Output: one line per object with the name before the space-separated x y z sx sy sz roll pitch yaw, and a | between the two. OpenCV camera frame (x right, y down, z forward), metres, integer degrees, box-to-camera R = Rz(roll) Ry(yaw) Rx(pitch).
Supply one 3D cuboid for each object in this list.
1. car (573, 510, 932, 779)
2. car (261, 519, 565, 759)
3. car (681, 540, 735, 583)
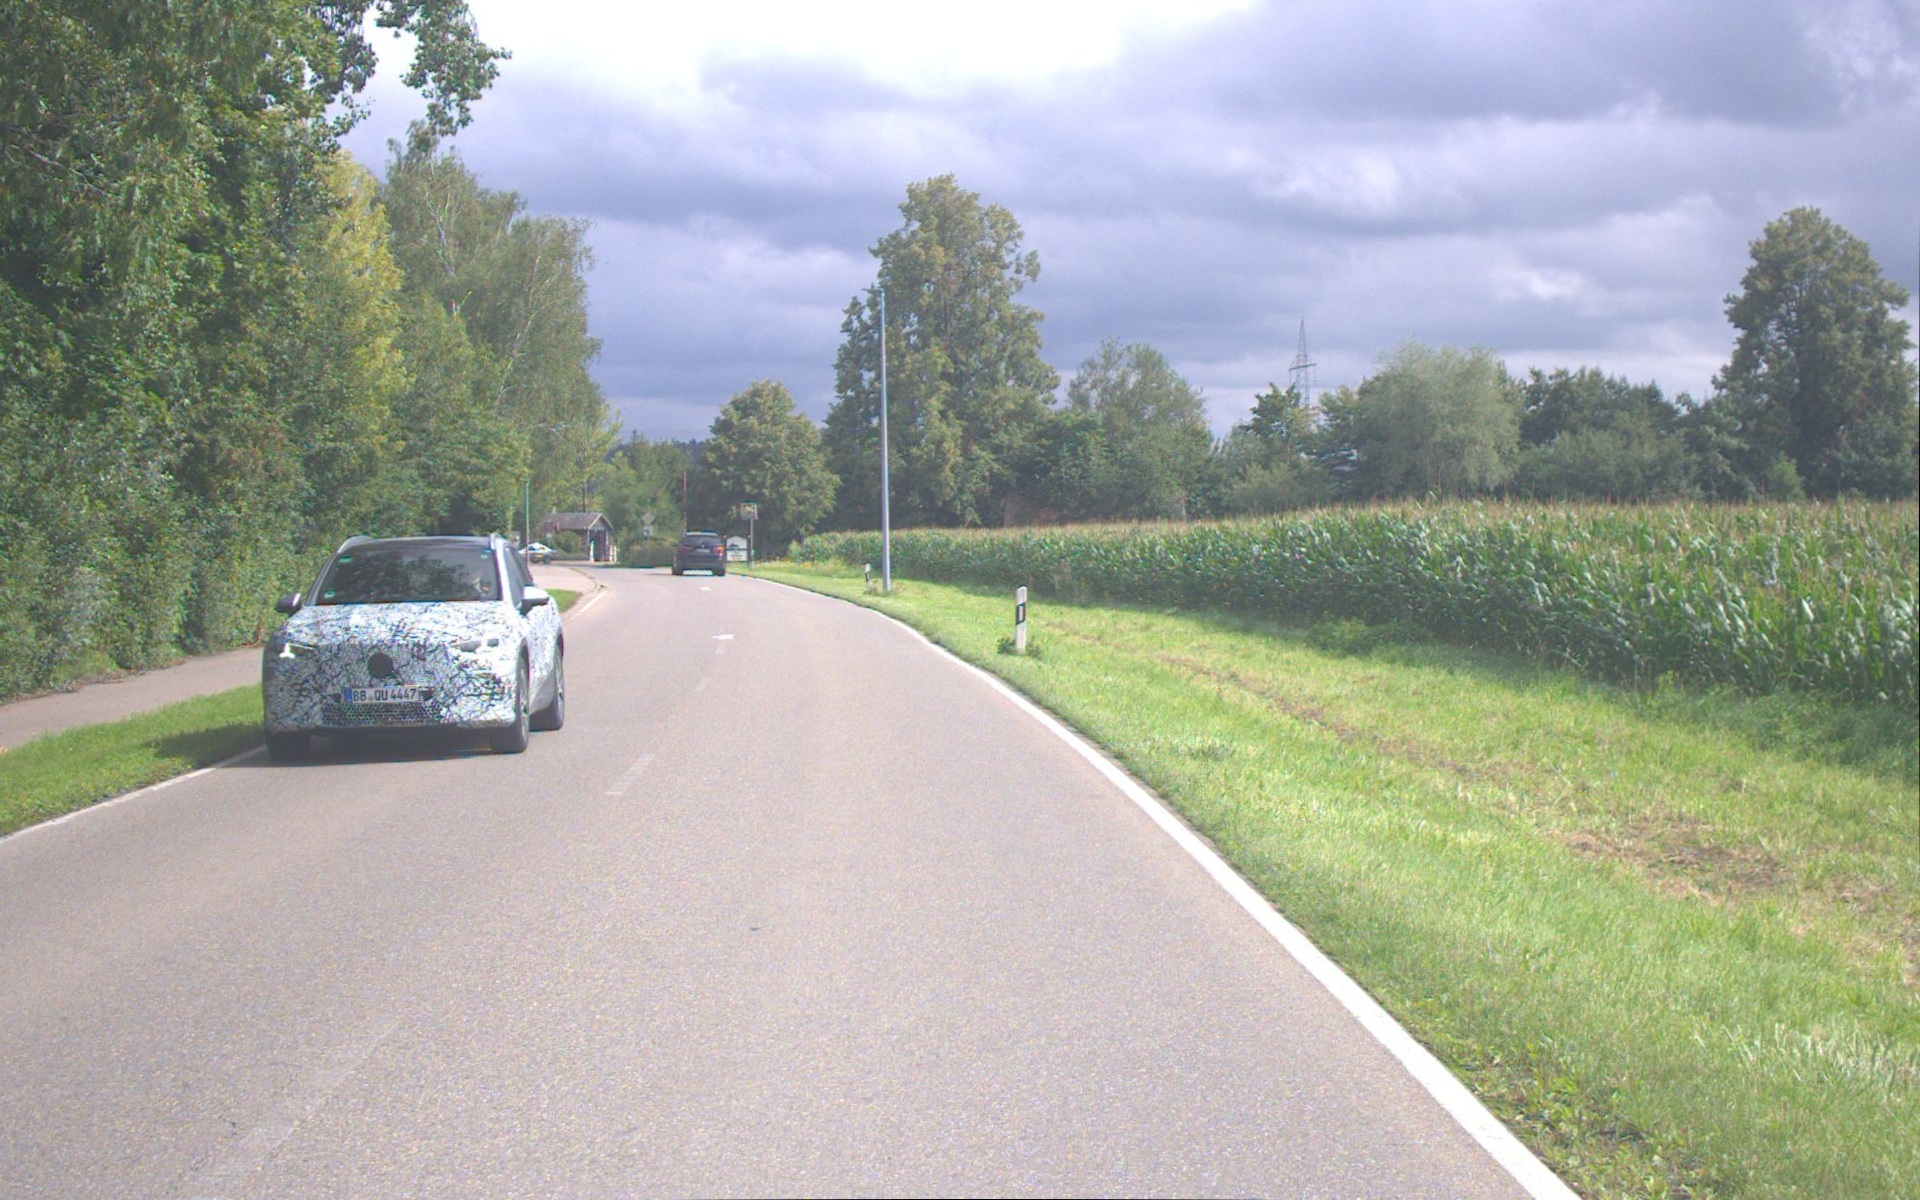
car | -1.786 0.324 28.223 1.993 2.007 4.001 2 0 -17
car | -4.120 0.230 26.508 1.811 1.645 4.293 -2 1 -3
car | -9.728 -1.491 132.761 1.993 1.579 4.001 2 0 -4
